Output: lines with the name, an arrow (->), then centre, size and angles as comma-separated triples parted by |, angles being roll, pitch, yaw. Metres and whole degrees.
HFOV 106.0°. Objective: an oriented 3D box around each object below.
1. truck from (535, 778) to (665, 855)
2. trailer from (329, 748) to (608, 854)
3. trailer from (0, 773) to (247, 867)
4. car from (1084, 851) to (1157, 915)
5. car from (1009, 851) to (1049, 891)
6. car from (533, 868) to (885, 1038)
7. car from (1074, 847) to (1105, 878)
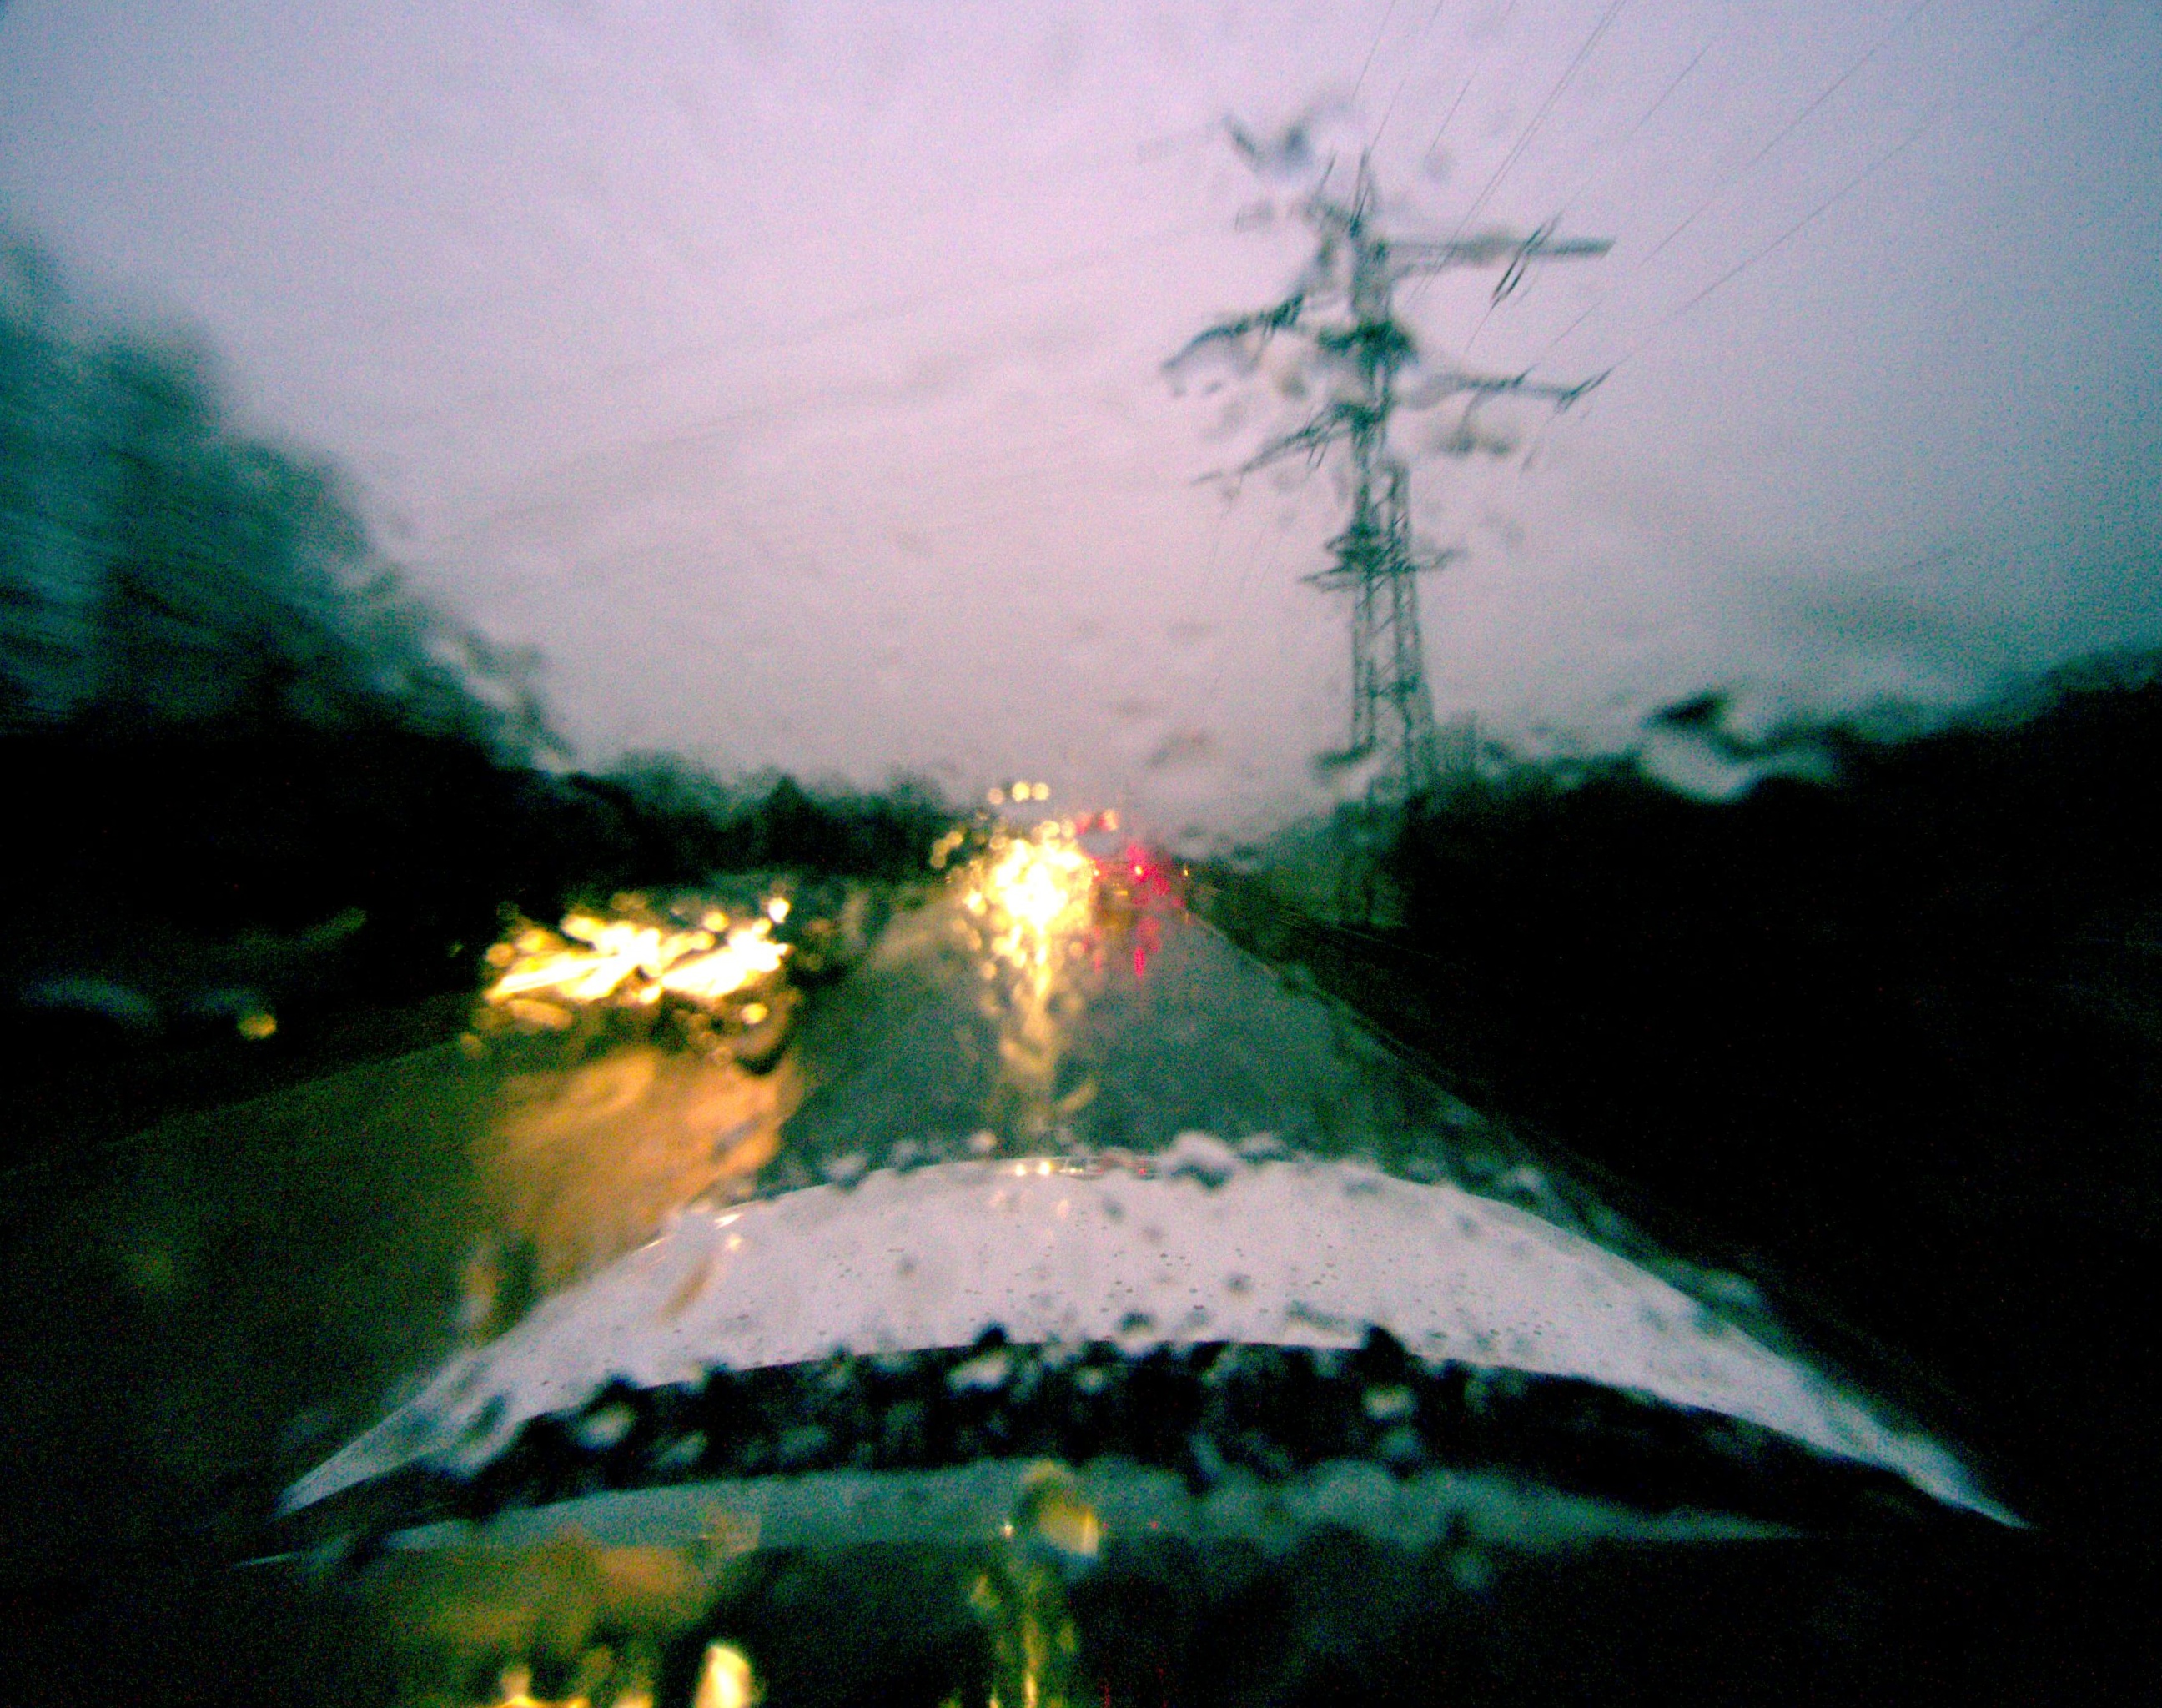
truck -> -24.839, -1.815, 42.449 | 2.981, 3.632, 6.069 | -1, 0, 1
trailer -> -25.076, -1.877, 34.628 | 2.987, 3.634, 11.389 | -1, -1, 1
trailer -> -29.907, -0.889, 22.000 | 2.499, 2.424, 11.507 | -2, 0, 2
car -> 1.162, 0.819, 24.607 | 1.986, 1.752, 4.001 | -1, 0, 2
car -> -2.819, 0.943, 44.991 | 1.821, 2.119, 4.001 | 0, -2, 2
car -> -3.577, 0.882, 8.784 | 1.821, 1.409, 4.001 | 0, -2, 2
car -> 0.650, 0.582, 57.110 | 1.986, 2.013, 4.002 | -2, 0, 2
